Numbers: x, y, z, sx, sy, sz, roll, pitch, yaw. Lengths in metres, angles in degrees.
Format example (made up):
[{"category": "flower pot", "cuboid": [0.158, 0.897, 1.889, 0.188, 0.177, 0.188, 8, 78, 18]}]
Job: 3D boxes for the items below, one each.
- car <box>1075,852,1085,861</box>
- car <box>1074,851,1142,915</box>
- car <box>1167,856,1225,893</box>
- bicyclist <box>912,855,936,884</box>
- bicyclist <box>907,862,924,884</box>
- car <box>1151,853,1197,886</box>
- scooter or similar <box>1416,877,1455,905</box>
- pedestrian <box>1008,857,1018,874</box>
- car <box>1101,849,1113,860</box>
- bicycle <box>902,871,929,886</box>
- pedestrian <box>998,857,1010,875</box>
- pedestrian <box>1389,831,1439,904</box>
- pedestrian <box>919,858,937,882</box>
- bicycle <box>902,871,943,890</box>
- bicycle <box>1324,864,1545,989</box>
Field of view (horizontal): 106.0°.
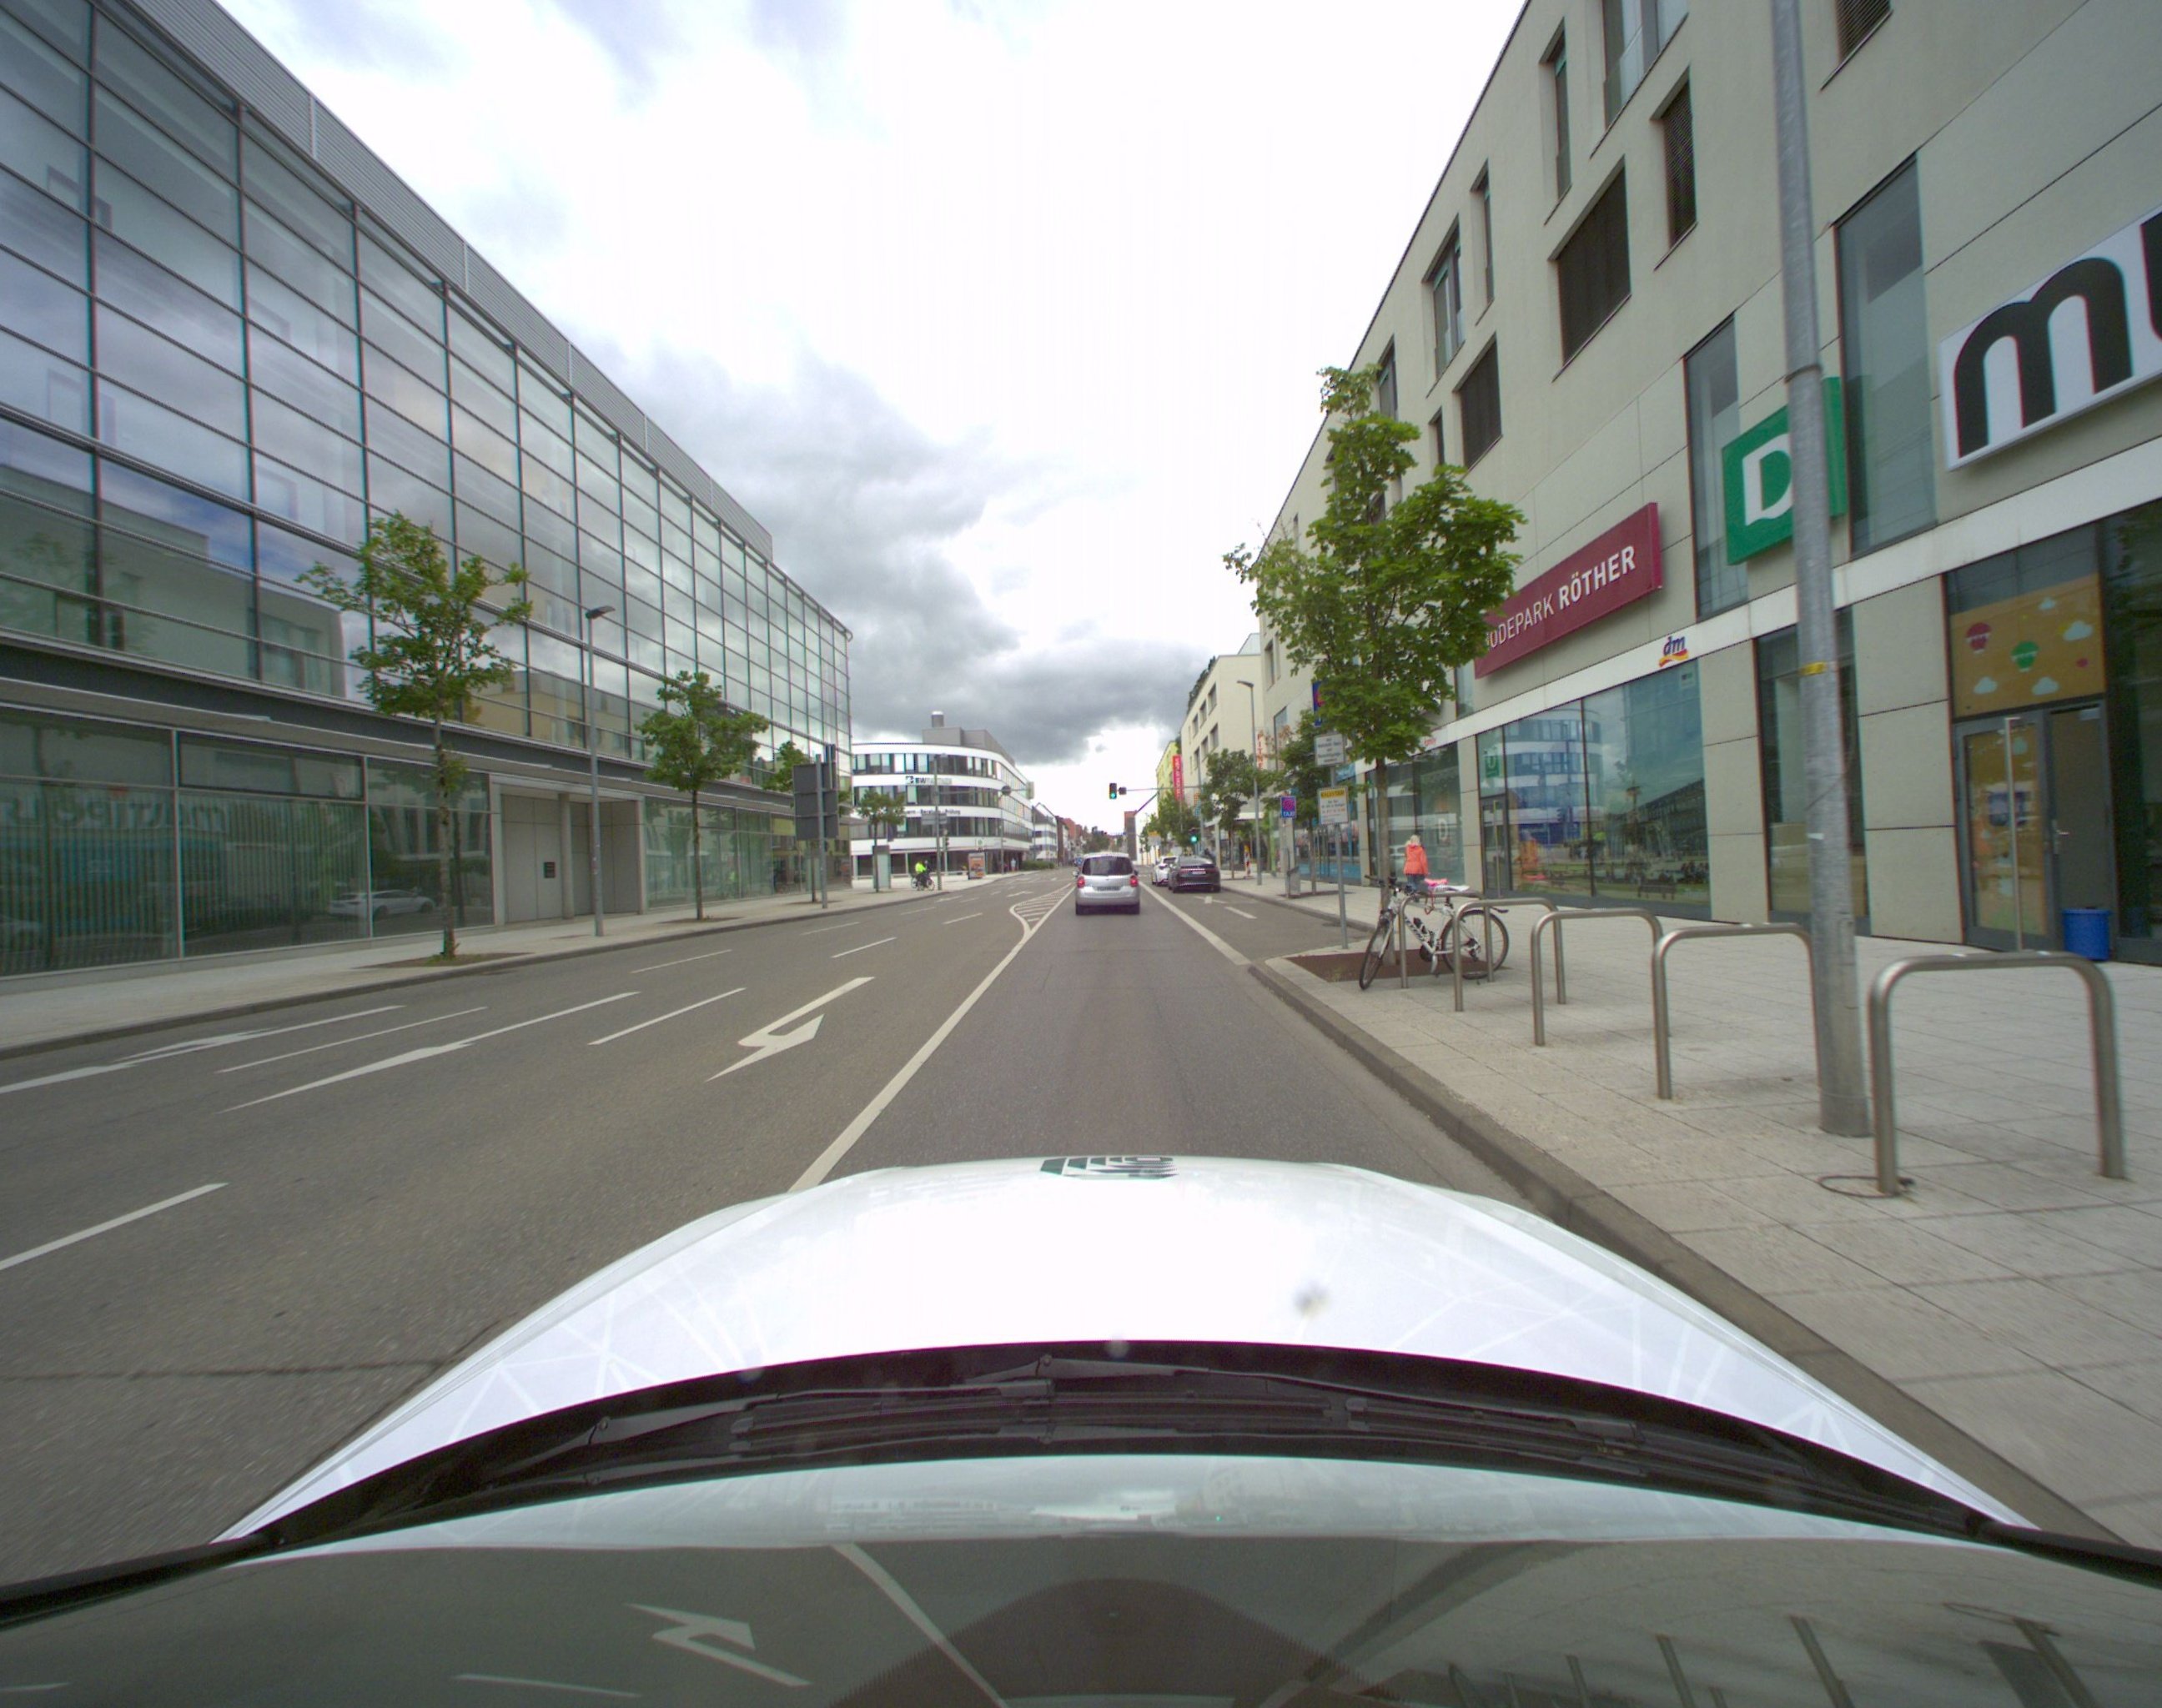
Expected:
[{"category": "car", "cuboid": [-0.151, 0.596, 191.626, 2.162, 2.013, 4.260, -3, 0, 2]}, {"category": "car", "cuboid": [0.648, 0.714, 21.905, 1.665, 1.554, 3.640, 0, 0, -1]}, {"category": "car", "cuboid": [4.493, 0.771, 32.336, 1.870, 1.335, 4.002, 0, 0, 2]}, {"category": "bicyclist", "cuboid": [-9.060, 0.868, 46.987, 1.014, 1.660, 0.922, 1, -1, -39]}, {"category": "bicyclist", "cuboid": [-10.308, 1.172, 50.676, 0.832, 1.327, 0.645, -2, 0, -32]}, {"category": "car", "cuboid": [4.396, 0.716, 38.870, 1.870, 1.509, 4.002, 0, 0, 2]}, {"category": "scooter or similar", "cuboid": [7.826, 0.804, 17.999, 0.548, 0.546, 0.642, -5, 0, 2]}, {"category": "pedestrian", "cuboid": [-7.821, 1.304, 93.486, 0.957, 1.833, 1.251, -3, 0, 2]}, {"category": "car", "cuboid": [5.014, 0.055, 155.452, 2.162, 2.013, 4.260, -3, 0, 2]}, {"category": "bicycle", "cuboid": [-10.296, 1.518, 50.664, 0.832, 0.898, 2.500, -2, 0, -31]}, {"category": "pedestrian", "cuboid": [-8.054, 1.211, 85.337, 0.957, 1.833, 1.251, -3, 0, 2]}, {"category": "pedestrian", "cuboid": [7.666, 0.302, 18.774, 0.708, 1.574, 0.813, -5, 0, 2]}, {"category": "pedestrian", "cuboid": [-12.081, 1.284, 64.389, 1.245, 1.833, 0.962, -3, 0, -6]}, {"category": "bicycle", "cuboid": [-9.184, 1.510, 47.127, 1.014, 1.018, 3.094, 1, -1, -38]}, {"category": "bicycle", "cuboid": [3.463, 0.694, 8.092, 1.819, 1.074, 0.752, -3, 0, -1]}]
